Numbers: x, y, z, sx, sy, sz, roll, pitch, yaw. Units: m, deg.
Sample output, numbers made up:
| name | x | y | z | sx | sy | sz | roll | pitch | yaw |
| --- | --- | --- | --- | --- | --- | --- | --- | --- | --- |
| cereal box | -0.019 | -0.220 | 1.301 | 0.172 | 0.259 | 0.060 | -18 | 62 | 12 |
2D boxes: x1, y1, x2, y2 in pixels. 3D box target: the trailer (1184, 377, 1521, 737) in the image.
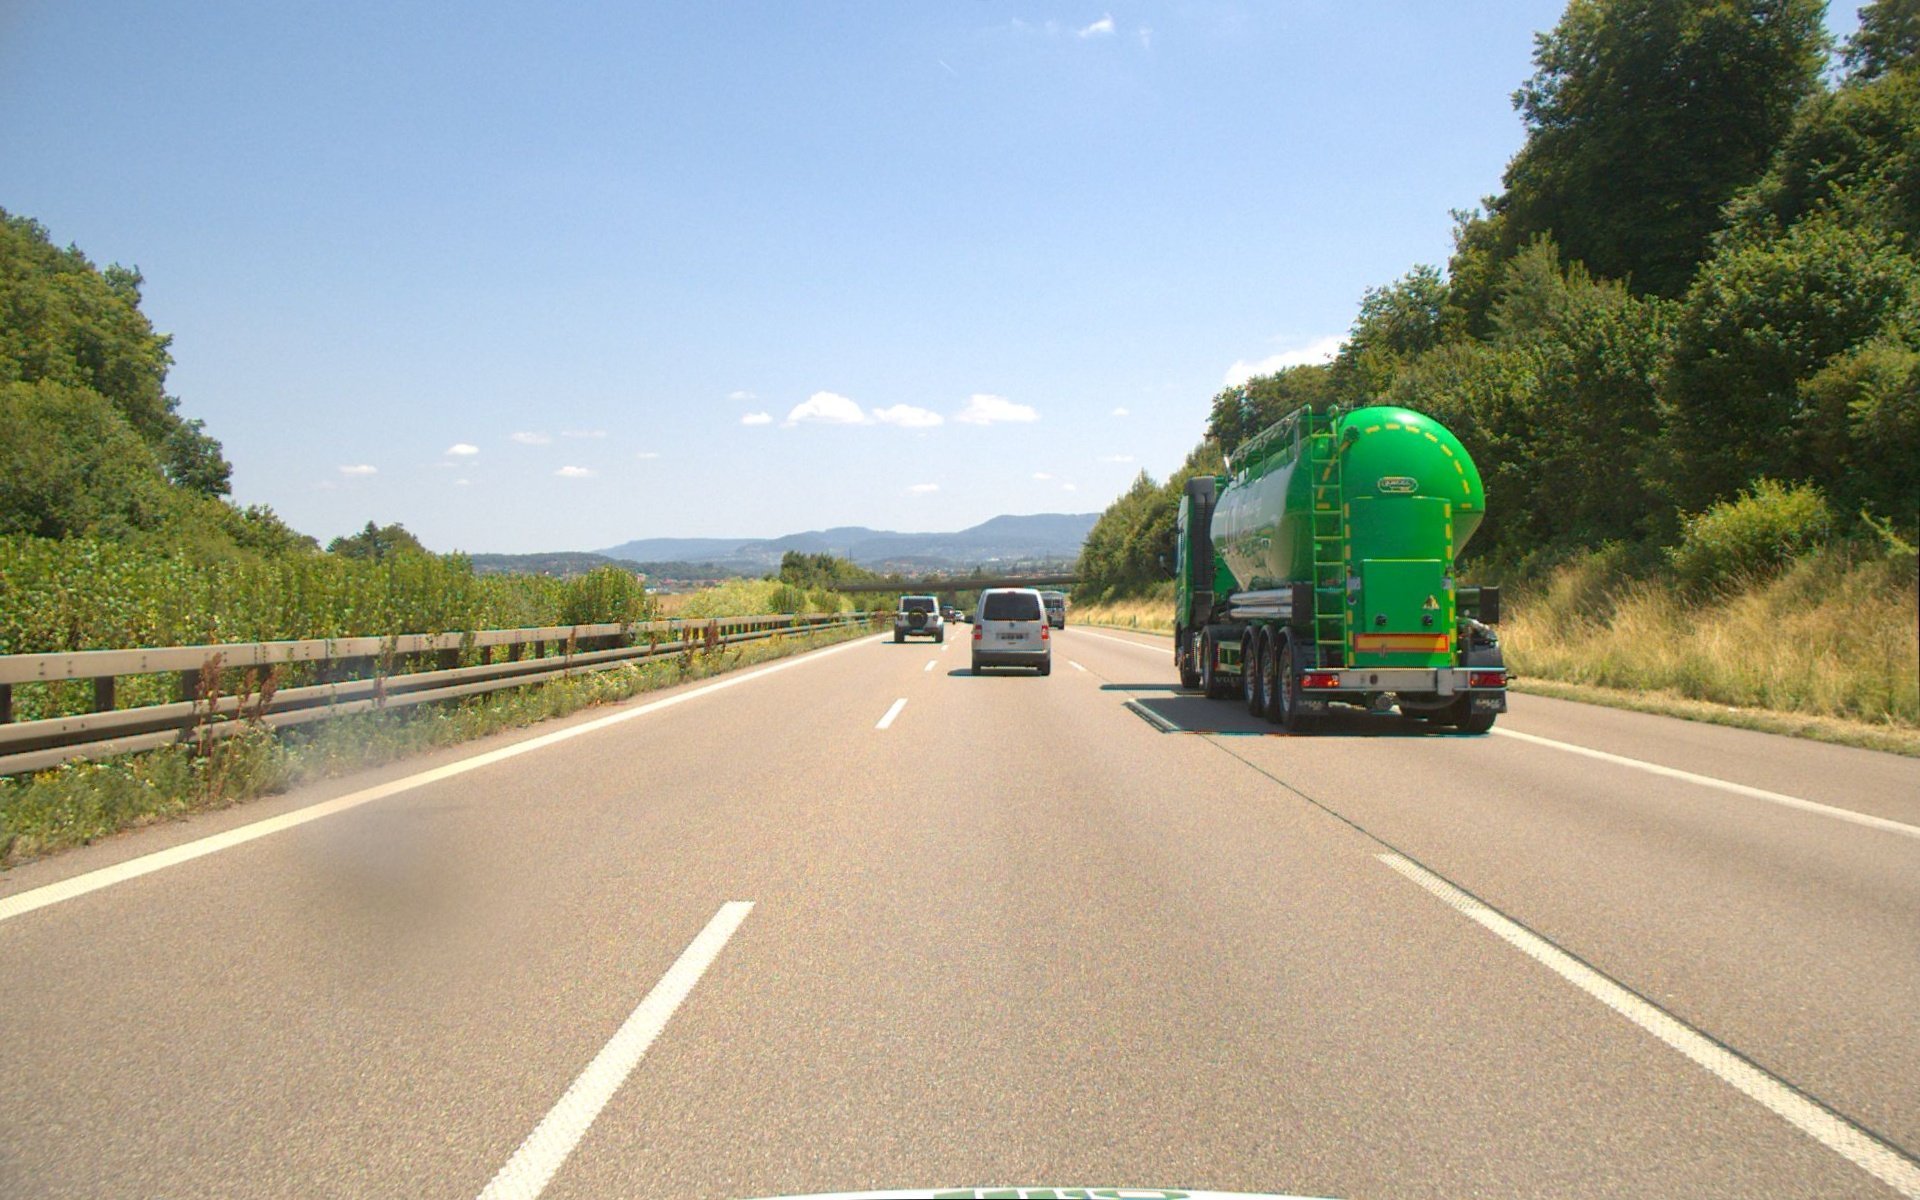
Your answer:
| name | x | y | z | sx | sy | sz | roll | pitch | yaw |
| --- | --- | --- | --- | --- | --- | --- | --- | --- | --- |
| trailer | 5.195 | -0.517 | 24.124 | 2.534 | 4.098 | 10.471 | 0 | 0 | 1 |

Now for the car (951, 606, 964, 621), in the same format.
| name | x | y | z | sx | sy | sz | roll | pitch | yaw |
| --- | --- | --- | --- | --- | --- | --- | --- | --- | --- |
| car | -0.375 | 1.816 | 221.476 | 1.663 | 2.049 | 3.823 | 0 | 0 | 1 |

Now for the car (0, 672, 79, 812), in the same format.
| name | x | y | z | sx | sy | sz | roll | pitch | yaw |
| --- | --- | --- | --- | --- | --- | --- | --- | --- | --- |
| car | -15.767 | 2.252 | 25.871 | 1.863 | 2.049 | 3.999 | 0 | 0 | -1 |

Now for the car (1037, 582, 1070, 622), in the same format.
| name | x | y | z | sx | sy | sz | roll | pitch | yaw |
| --- | --- | --- | --- | --- | --- | --- | --- | --- | --- |
| car | 6.342 | 0.114 | 112.722 | 2.046 | 2.621 | 6.623 | 0 | 0 | 1 |

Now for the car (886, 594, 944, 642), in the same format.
| name | x | y | z | sx | sy | sz | roll | pitch | yaw |
| --- | --- | --- | --- | --- | --- | --- | --- | --- | --- |
| car | -1.784 | 0.698 | 67.425 | 2.040 | 1.861 | 4.755 | 0 | 0 | 2 |

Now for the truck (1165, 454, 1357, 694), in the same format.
| name | x | y | z | sx | sy | sz | roll | pitch | yaw |
| --- | --- | --- | --- | --- | --- | --- | --- | --- | --- |
| truck | 5.215 | -0.433 | 29.389 | 2.458 | 3.909 | 4.891 | 0 | 0 | -1 |

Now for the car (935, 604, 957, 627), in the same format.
| name | x | y | z | sx | sy | sz | roll | pitch | yaw |
| --- | --- | --- | --- | --- | --- | --- | --- | --- | --- |
| car | -1.272 | 1.388 | 152.997 | 1.952 | 2.049 | 4.000 | 0 | 0 | 1 |

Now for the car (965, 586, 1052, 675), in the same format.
| name | x | y | z | sx | sy | sz | roll | pitch | yaw |
| --- | --- | --- | --- | --- | --- | --- | --- | --- | --- |
| car | 1.028 | 0.634 | 37.147 | 1.710 | 1.861 | 4.800 | 0 | 0 | -1 |
